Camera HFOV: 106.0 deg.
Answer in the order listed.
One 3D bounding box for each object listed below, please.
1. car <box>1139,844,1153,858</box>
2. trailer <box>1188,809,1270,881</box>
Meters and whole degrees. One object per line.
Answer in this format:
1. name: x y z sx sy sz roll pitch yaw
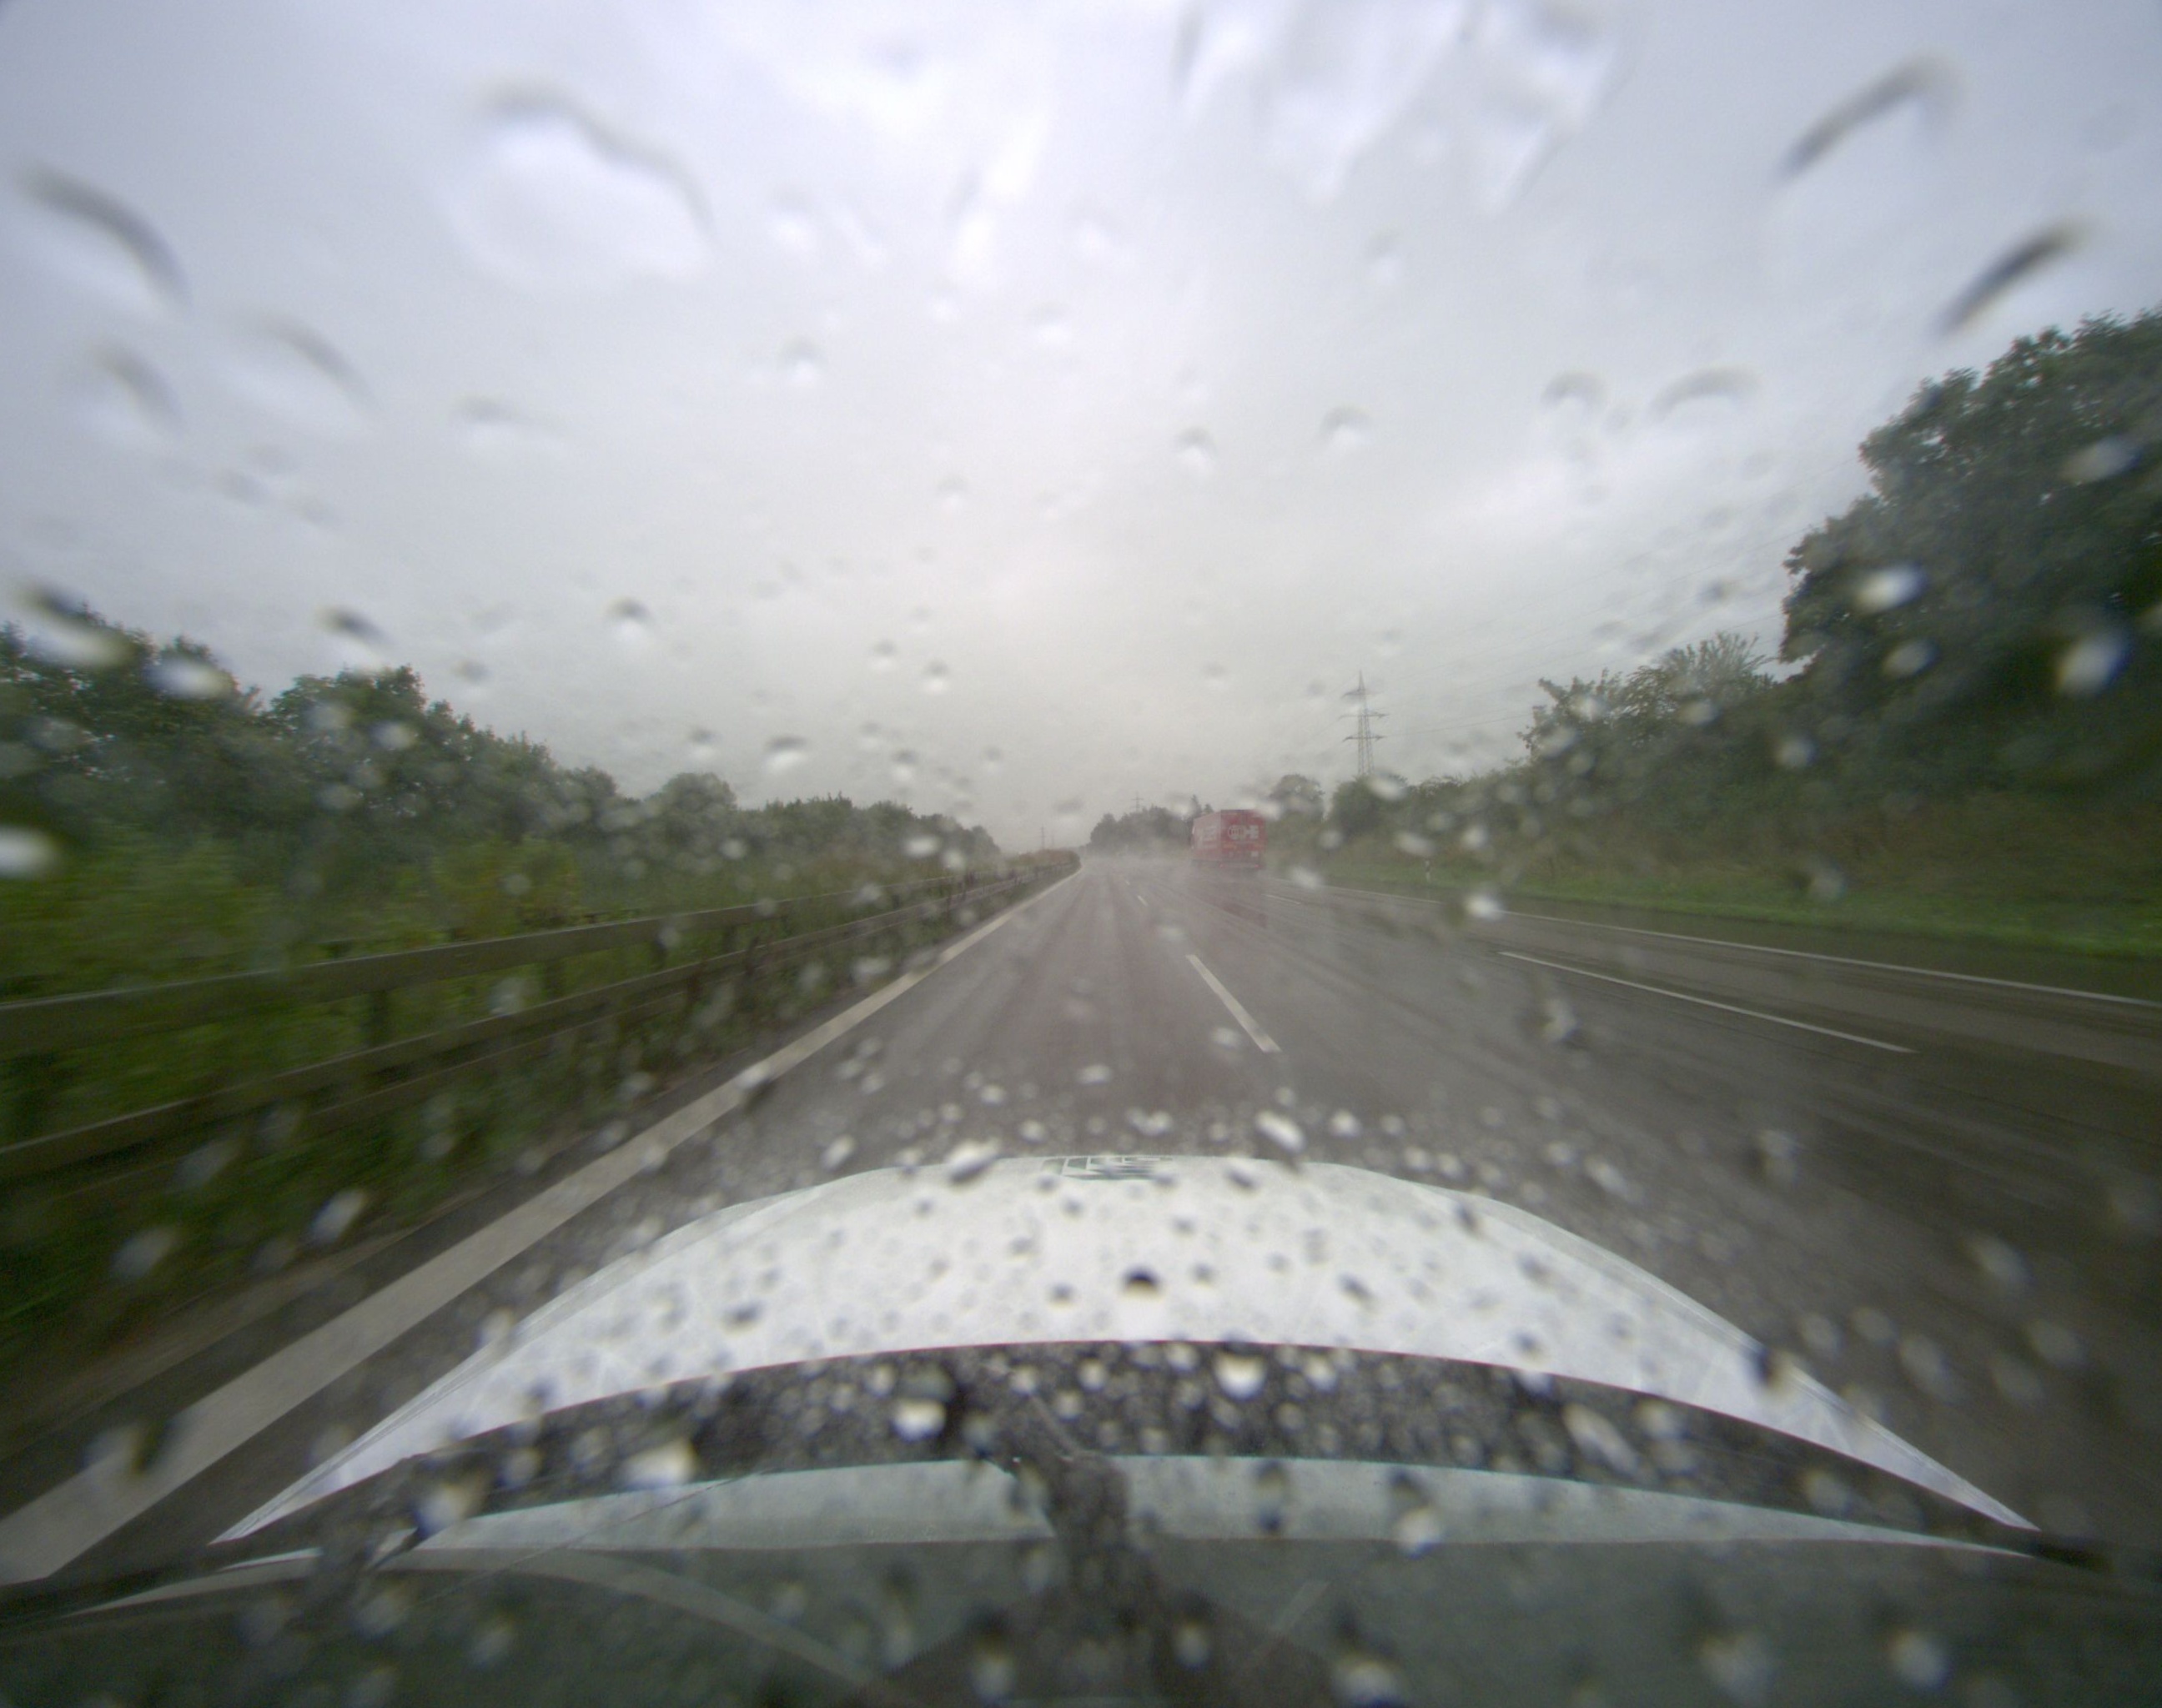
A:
1. car: 10.643 -0.503 133.214 1.802 2.158 3.997 -4 0 -2
2. trailer: 9.395 -0.492 53.530 2.612 3.955 13.627 -4 0 0
